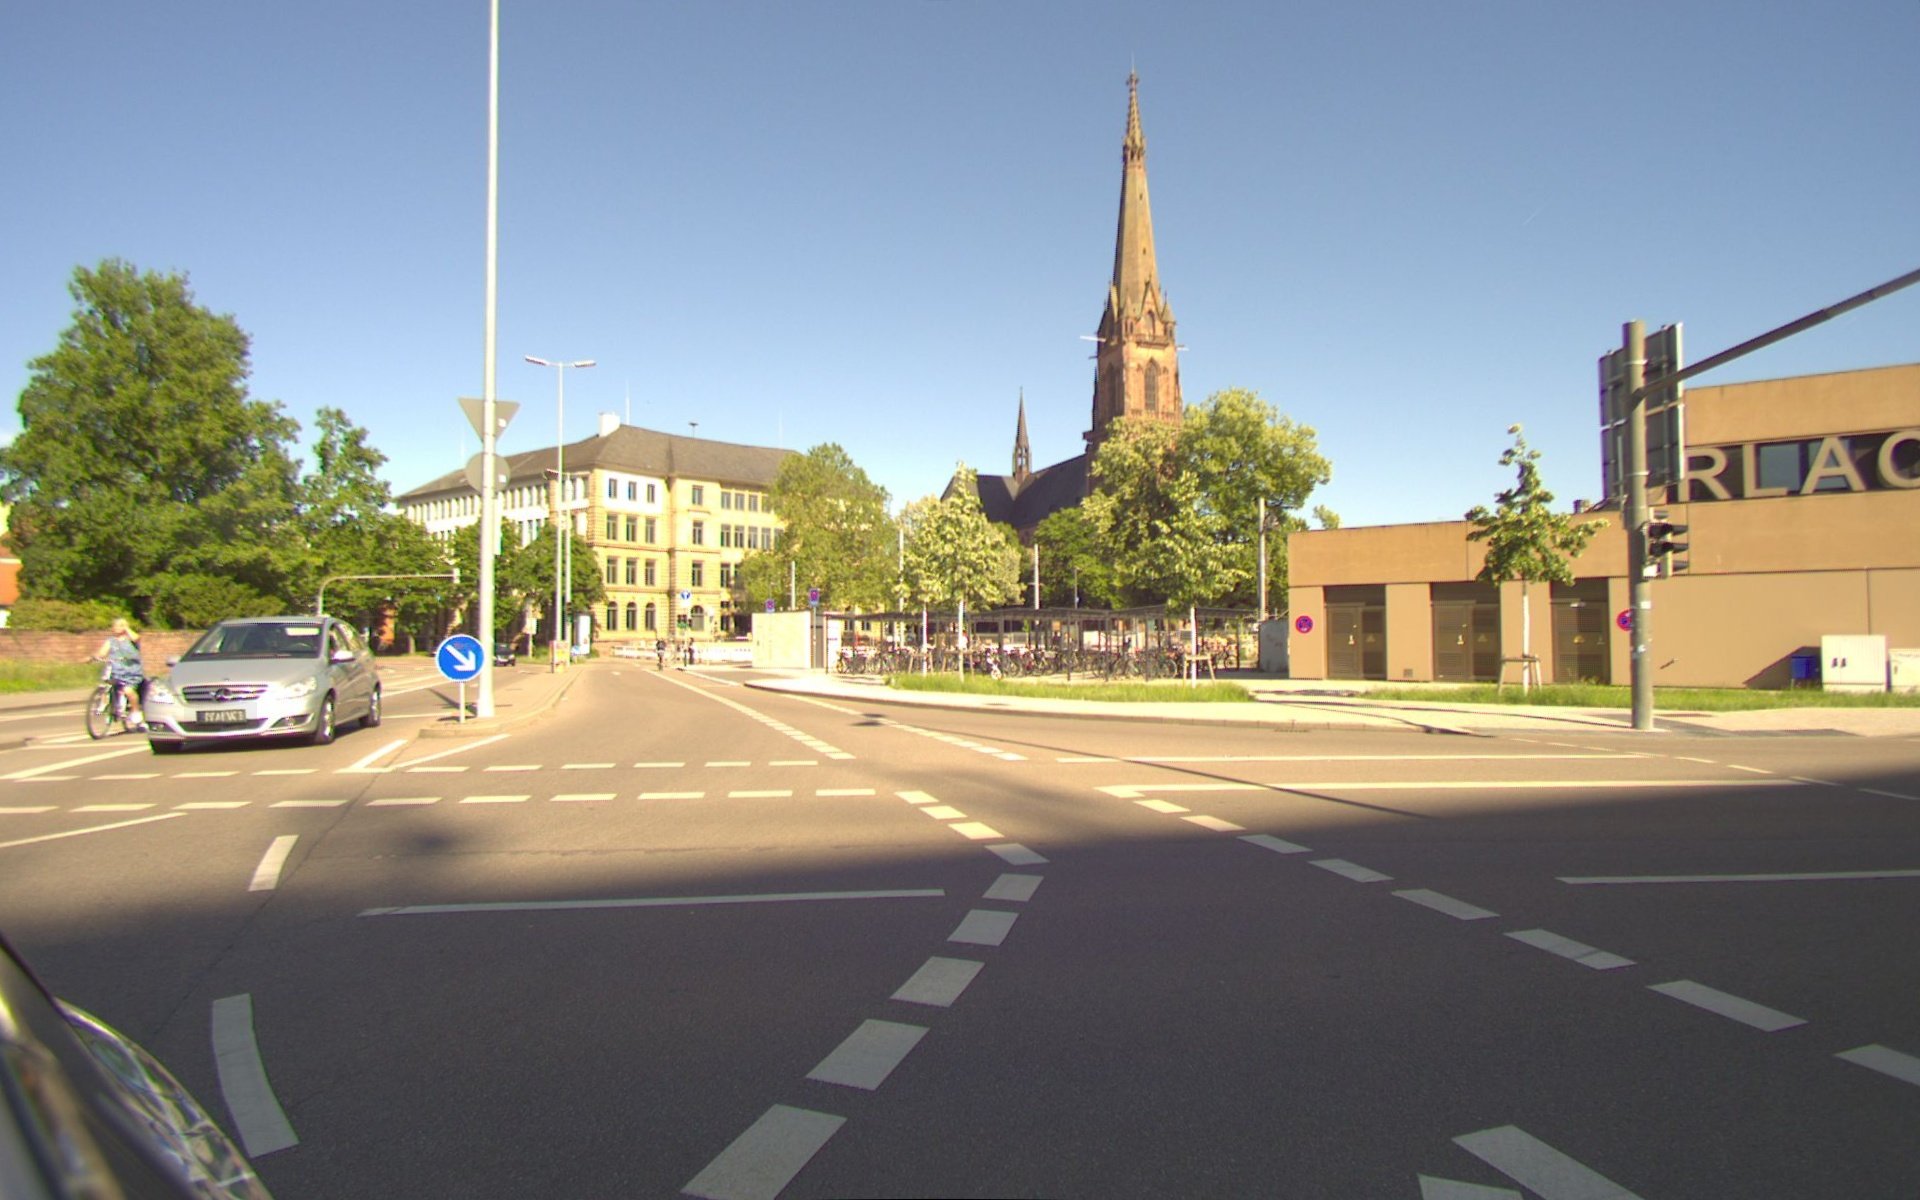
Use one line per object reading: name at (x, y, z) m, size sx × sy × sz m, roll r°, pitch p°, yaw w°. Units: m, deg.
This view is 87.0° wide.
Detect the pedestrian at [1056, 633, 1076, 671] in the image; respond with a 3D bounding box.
pedestrian at (4.873, 2.394, 46.639) m, size 0.679 × 1.736 × 0.611 m, roll -2°, pitch -3°, yaw 32°

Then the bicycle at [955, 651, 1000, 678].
bicycle at (0.682, 2.553, 40.140) m, size 1.782 × 1.046 × 0.561 m, roll -1°, pitch -3°, yaw 33°

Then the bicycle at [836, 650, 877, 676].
bicycle at (-4.397, 2.675, 42.952) m, size 1.782 × 1.046 × 0.561 m, roll -1°, pitch -3°, yaw 33°

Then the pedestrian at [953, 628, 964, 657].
pedestrian at (-0.095, 2.671, 63.219) m, size 0.533 × 1.736 × 0.679 m, roll -2°, pitch -7°, yaw 10°

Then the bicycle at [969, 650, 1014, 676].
bicycle at (1.278, 2.556, 41.271) m, size 1.782 × 1.046 × 0.561 m, roll -1°, pitch -3°, yaw 33°

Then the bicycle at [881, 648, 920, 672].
bicycle at (-2.688, 2.720, 45.749) m, size 1.782 × 1.046 × 0.561 m, roll -1°, pitch -3°, yaw 33°

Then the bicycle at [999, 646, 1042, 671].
bicycle at (2.580, 2.506, 43.363) m, size 1.782 × 1.046 × 0.561 m, roll -1°, pitch -3°, yaw 33°

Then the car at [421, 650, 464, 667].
car at (-56.157, 6.339, 109.857) m, size 1.987 × 1.830 × 3.771 m, roll -2°, pitch -3°, yaw 23°

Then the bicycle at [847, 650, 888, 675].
bicycle at (-4.001, 2.675, 43.588) m, size 1.782 × 1.046 × 0.561 m, roll -1°, pitch -3°, yaw 33°

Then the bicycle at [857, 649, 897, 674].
bicycle at (-3.635, 2.666, 44.165) m, size 1.782 × 1.046 × 0.561 m, roll -1°, pitch -3°, yaw 33°

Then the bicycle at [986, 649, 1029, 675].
bicycle at (1.980, 2.591, 42.338) m, size 1.782 × 1.046 × 0.561 m, roll -1°, pitch -3°, yaw 33°

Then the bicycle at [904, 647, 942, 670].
bicycle at (-1.722, 2.745, 47.323) m, size 1.782 × 1.046 × 0.561 m, roll -1°, pitch -3°, yaw 33°

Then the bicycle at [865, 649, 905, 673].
bicycle at (-3.314, 2.688, 44.701) m, size 1.782 × 1.046 × 0.561 m, roll -1°, pitch -3°, yaw 33°

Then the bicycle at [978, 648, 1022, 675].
bicycle at (1.649, 2.539, 41.828) m, size 1.782 × 1.046 × 0.561 m, roll -1°, pitch -3°, yaw 33°

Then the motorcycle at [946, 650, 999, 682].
motorcycle at (0.456, 2.392, 36.982) m, size 1.982 × 1.128 × 0.587 m, roll -2°, pitch -3°, yaw 37°

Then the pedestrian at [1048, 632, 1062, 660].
pedestrian at (5.733, 2.766, 61.070) m, size 0.557 × 1.667 × 0.520 m, roll -2°, pitch -2°, yaw -19°

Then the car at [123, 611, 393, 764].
car at (-8.874, 1.030, 13.281) m, size 1.741 × 1.606 × 4.653 m, roll 0°, pitch -2°, yaw -19°

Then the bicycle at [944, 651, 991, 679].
bicycle at (0.274, 2.511, 39.027) m, size 1.782 × 1.046 × 0.561 m, roll -1°, pitch -3°, yaw 33°

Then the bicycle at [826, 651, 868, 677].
bicycle at (-4.742, 2.656, 42.409) m, size 1.782 × 1.046 × 0.561 m, roll -1°, pitch -3°, yaw 33°

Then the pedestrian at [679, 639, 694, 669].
pedestrian at (-15.924, 3.162, 58.912) m, size 0.777 × 1.694 × 0.650 m, roll -2°, pitch -2°, yaw -18°

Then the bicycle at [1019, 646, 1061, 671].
bicycle at (3.528, 2.570, 44.637) m, size 1.782 × 1.046 × 0.561 m, roll -1°, pitch -3°, yaw 33°

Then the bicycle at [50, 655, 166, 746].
bicycle at (-12.062, 1.386, 14.399) m, size 0.632 × 1.174 × 1.974 m, roll -1°, pitch -2°, yaw -20°

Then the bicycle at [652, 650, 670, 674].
bicycle at (-15.173, 3.152, 51.254) m, size 0.735 × 1.174 × 1.876 m, roll 2°, pitch -3°, yaw -20°

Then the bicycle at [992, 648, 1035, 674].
bicycle at (2.276, 2.570, 42.854) m, size 1.782 × 1.046 × 0.561 m, roll -1°, pitch -3°, yaw 33°

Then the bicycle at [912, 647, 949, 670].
bicycle at (-1.396, 2.777, 47.810) m, size 1.782 × 1.046 × 0.561 m, roll -1°, pitch -3°, yaw 33°

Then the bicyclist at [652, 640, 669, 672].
bicyclist at (-15.208, 2.831, 51.362) m, size 0.709 × 1.633 × 0.981 m, roll 1°, pitch -3°, yaw -20°

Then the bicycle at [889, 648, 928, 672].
bicycle at (-2.349, 2.748, 46.314) m, size 1.782 × 1.046 × 0.561 m, roll -1°, pitch -3°, yaw 33°

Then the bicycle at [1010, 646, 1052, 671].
bicycle at (3.082, 2.543, 44.067) m, size 1.782 × 1.046 × 0.561 m, roll -1°, pitch -3°, yaw 33°

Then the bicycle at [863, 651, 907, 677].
bicycle at (-3.071, 2.601, 41.284) m, size 1.782 × 1.046 × 0.561 m, roll -1°, pitch -3°, yaw 33°

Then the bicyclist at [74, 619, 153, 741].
bicyclist at (-12.084, 1.124, 14.466) m, size 0.632 × 1.675 × 0.779 m, roll 0°, pitch -2°, yaw -21°

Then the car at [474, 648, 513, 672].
car at (-31.438, 4.011, 68.107) m, size 1.966 × 1.484 × 4.311 m, roll -2°, pitch -2°, yaw -30°
